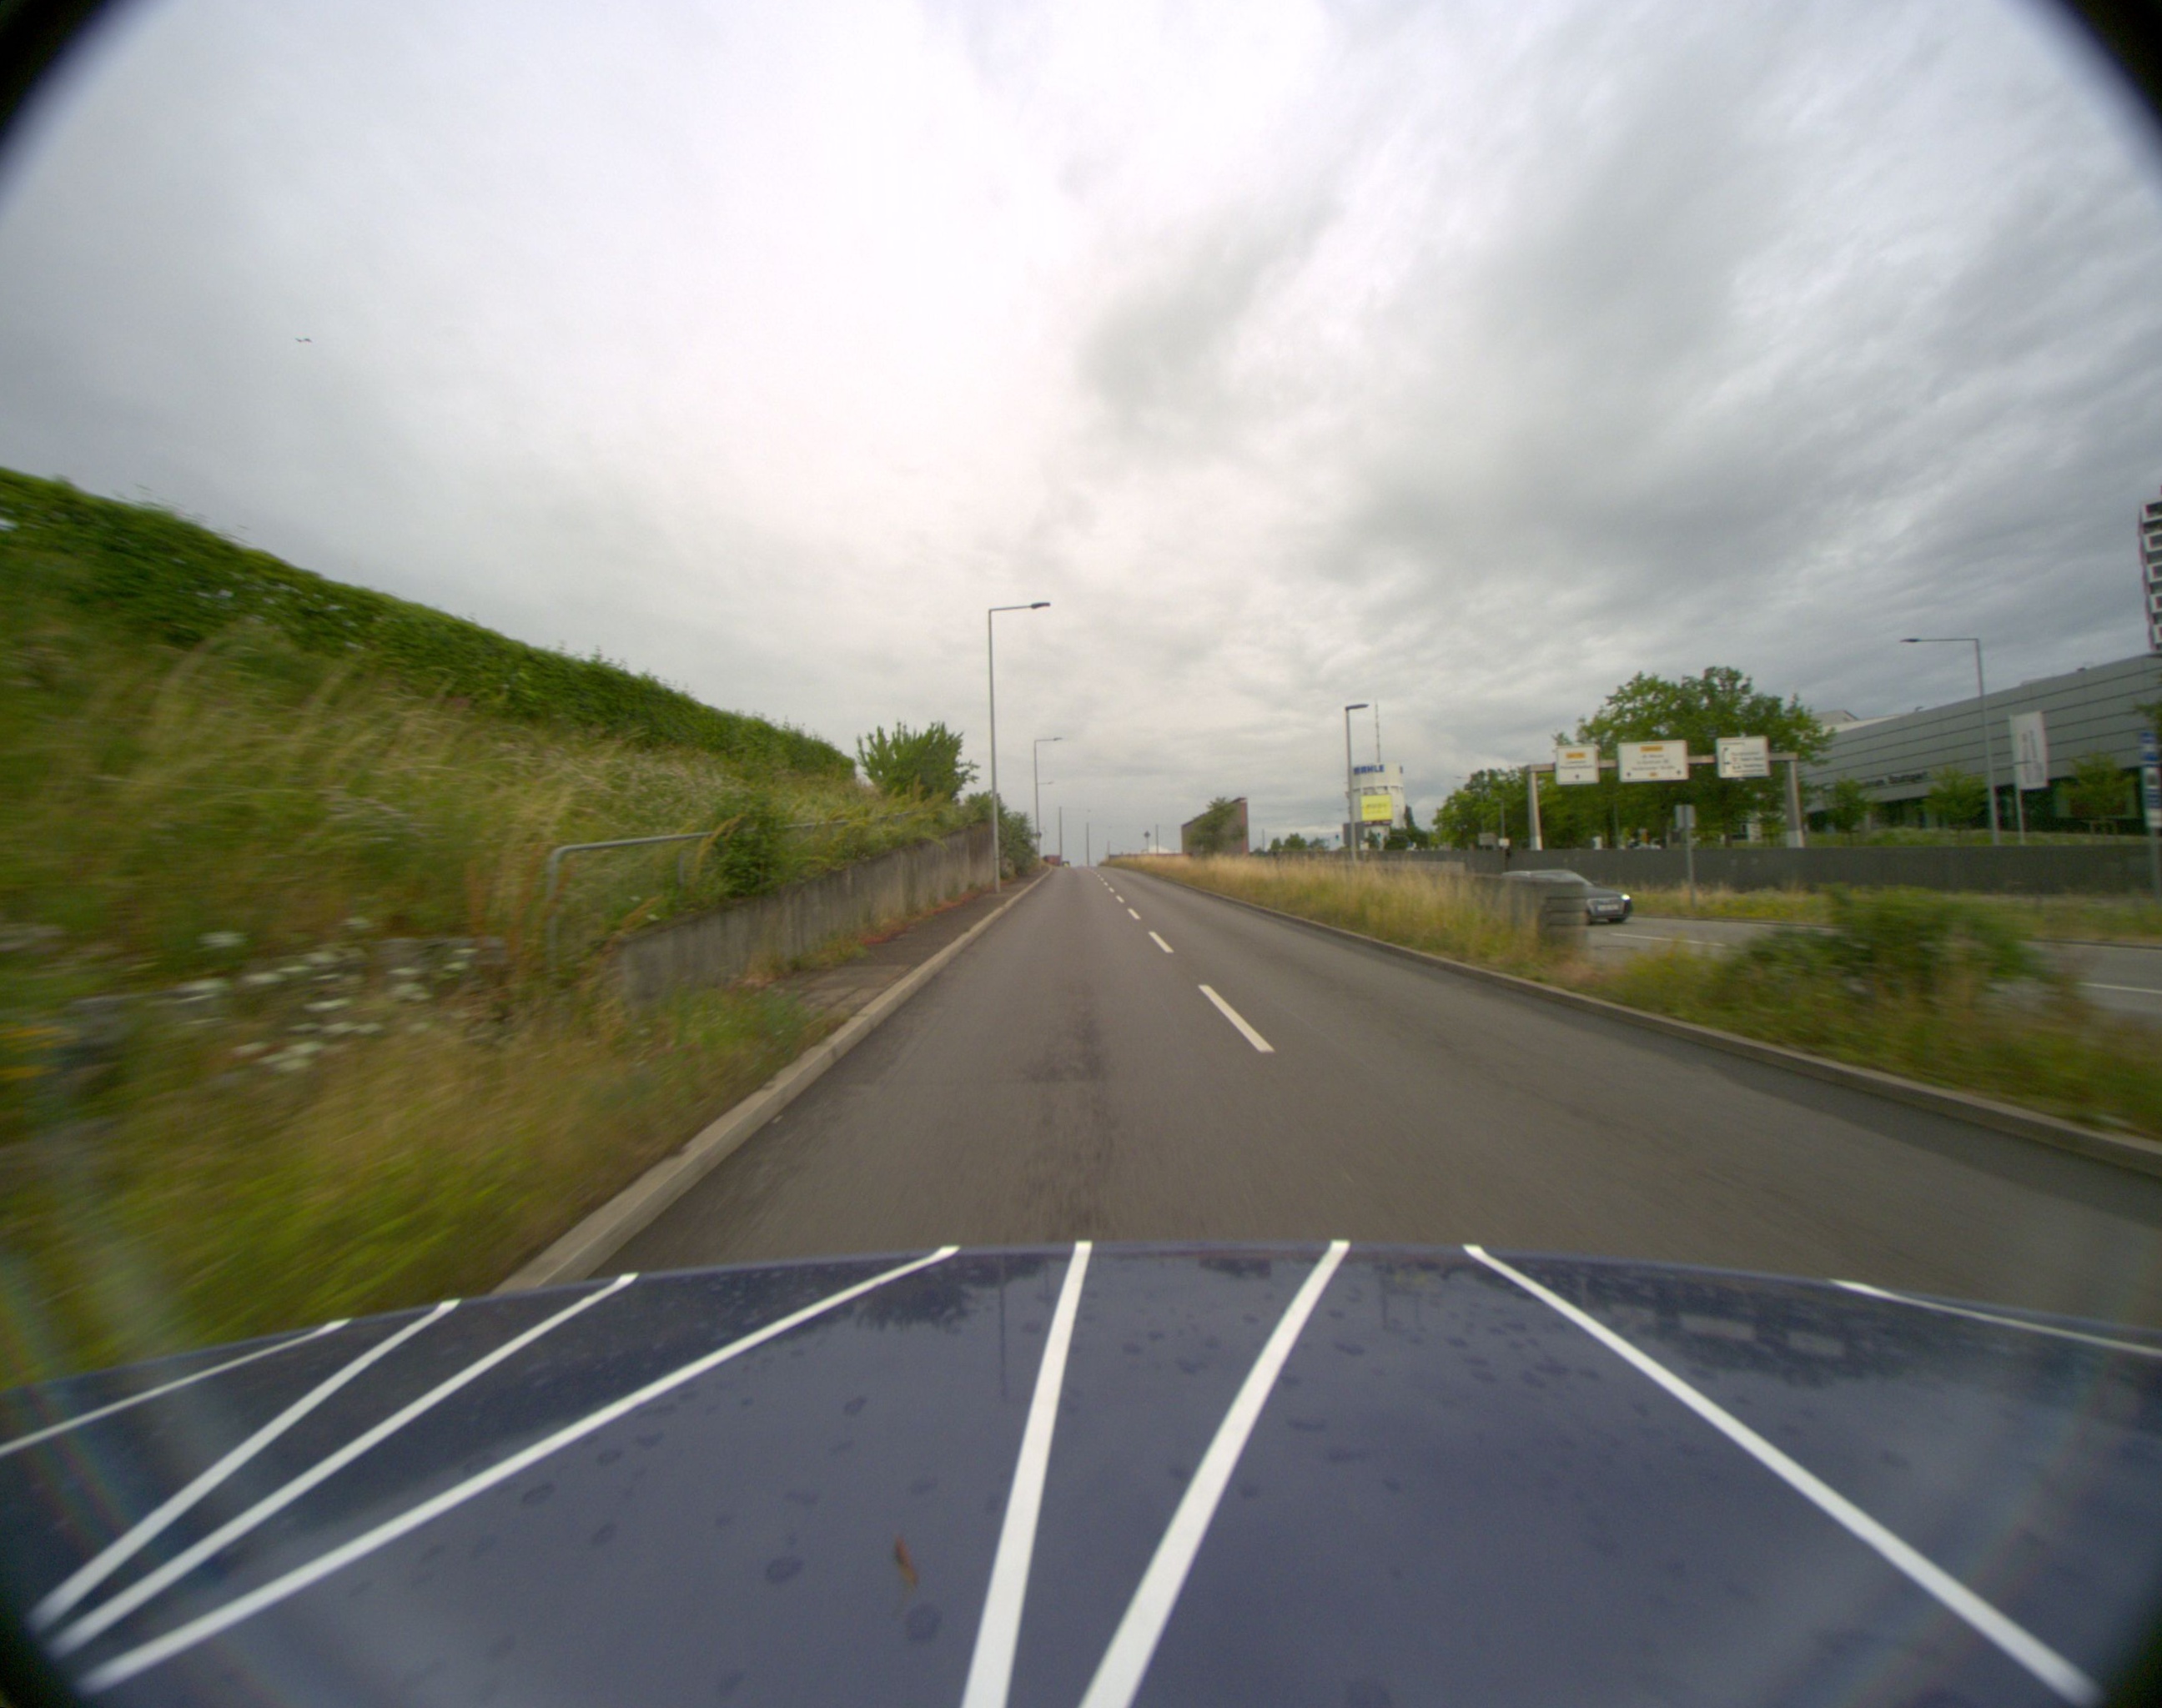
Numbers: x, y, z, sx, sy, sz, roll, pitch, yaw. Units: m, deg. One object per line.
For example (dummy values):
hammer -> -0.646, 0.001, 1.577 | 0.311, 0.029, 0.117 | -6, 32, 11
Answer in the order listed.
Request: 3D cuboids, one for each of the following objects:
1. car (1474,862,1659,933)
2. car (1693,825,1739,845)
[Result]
car -> 12.701, 1.063, 20.302 | 1.814, 1.411, 4.630 | -6, 1, -1
car -> 77.525, -2.332, 92.806 | 1.999, 2.000, 4.001 | -4, -3, -4
